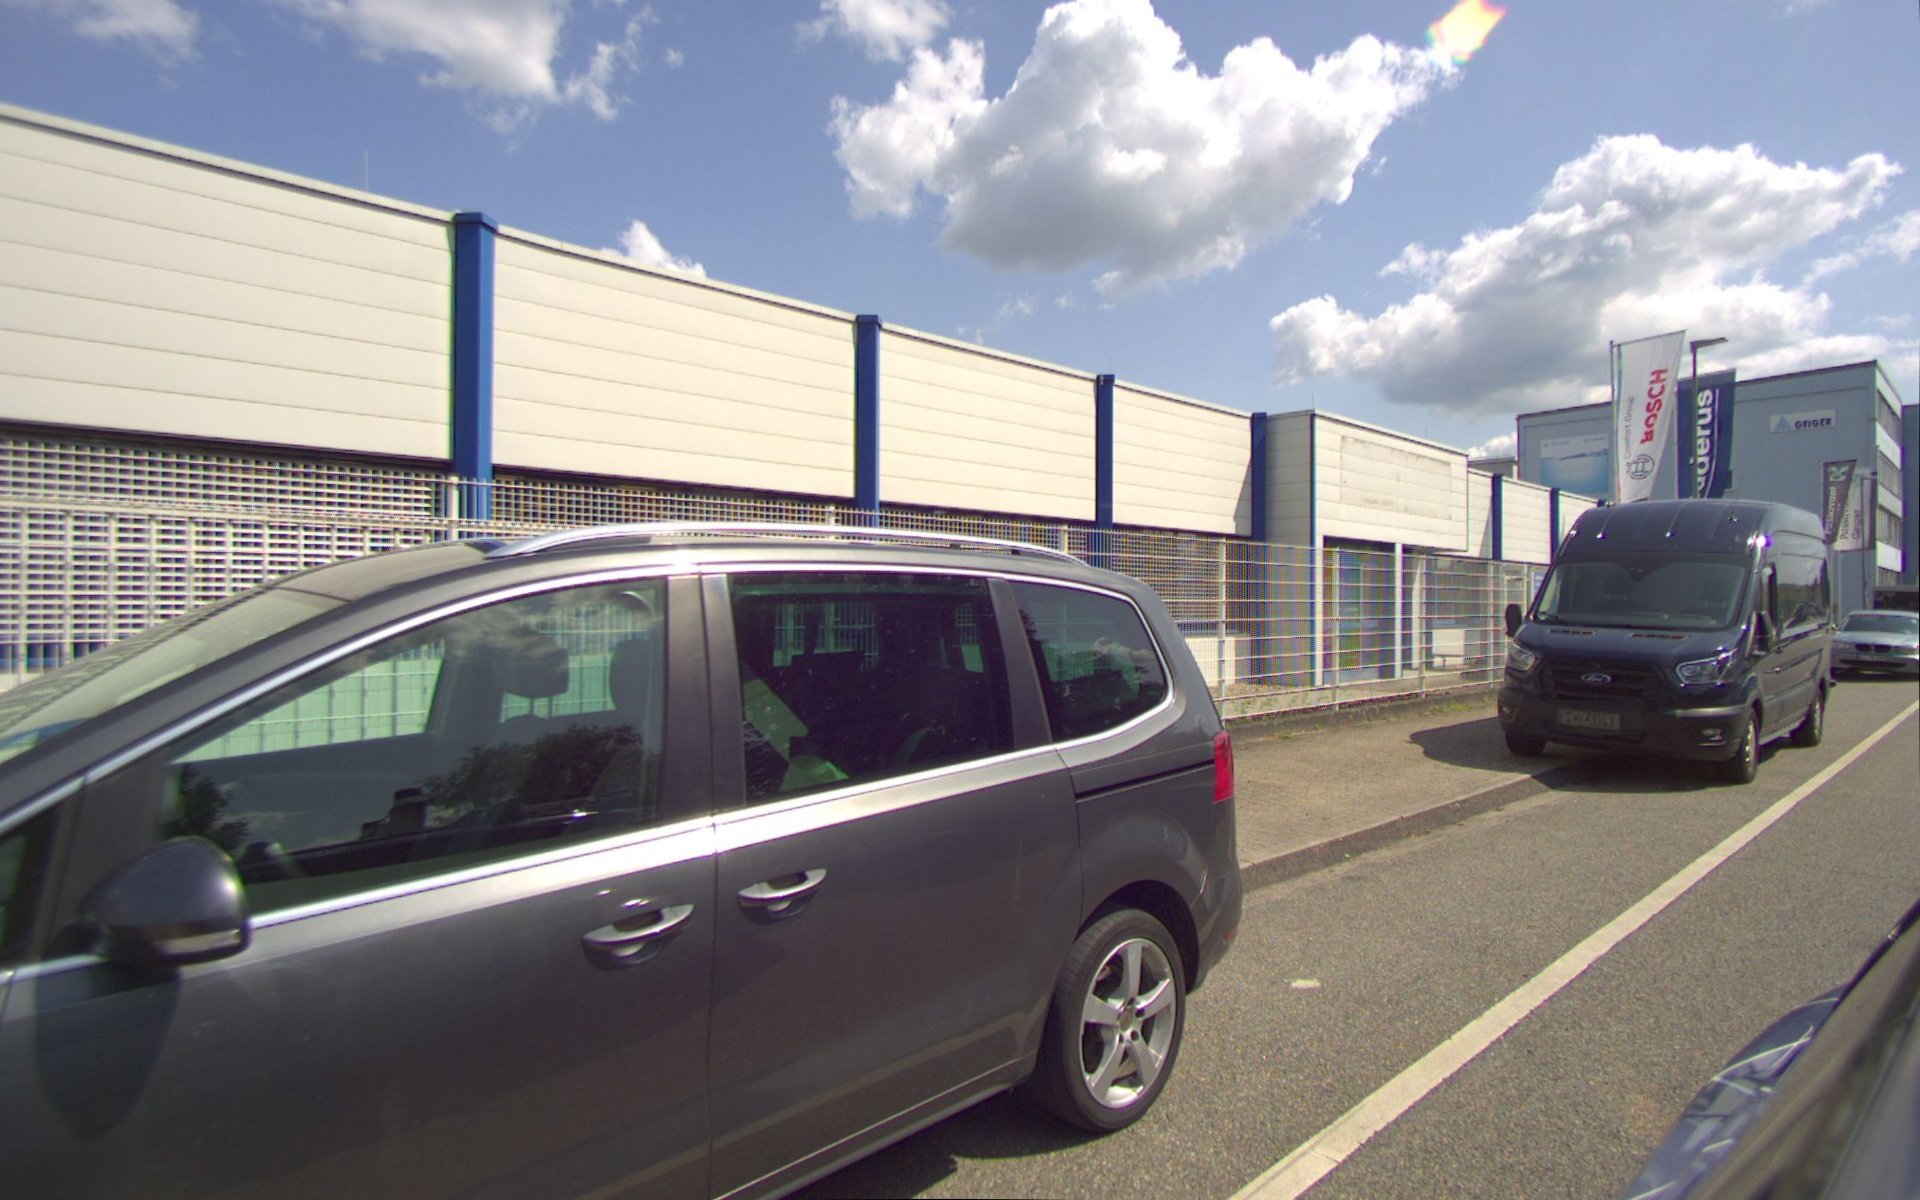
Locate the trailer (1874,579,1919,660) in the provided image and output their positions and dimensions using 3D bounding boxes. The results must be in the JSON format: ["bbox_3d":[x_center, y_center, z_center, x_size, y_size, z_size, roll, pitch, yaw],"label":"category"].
[{"bbox_3d":[25.350,0.492,26.682,2.694,2.063,1.603,0,-1,-43],"label":"trailer"}]

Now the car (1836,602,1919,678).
[{"bbox_3d":[20.529,0.811,22.169,4.062,1.526,1.574,0,0,-43],"label":"car"}]

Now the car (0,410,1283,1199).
[{"bbox_3d":[-1.186,0.594,2.578,4.477,1.685,1.828,0,0,-42],"label":"car"}]

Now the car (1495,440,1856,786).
[{"bbox_3d":[7.948,0.103,10.906,6.049,2.783,1.940,0,0,-43],"label":"car"}]
